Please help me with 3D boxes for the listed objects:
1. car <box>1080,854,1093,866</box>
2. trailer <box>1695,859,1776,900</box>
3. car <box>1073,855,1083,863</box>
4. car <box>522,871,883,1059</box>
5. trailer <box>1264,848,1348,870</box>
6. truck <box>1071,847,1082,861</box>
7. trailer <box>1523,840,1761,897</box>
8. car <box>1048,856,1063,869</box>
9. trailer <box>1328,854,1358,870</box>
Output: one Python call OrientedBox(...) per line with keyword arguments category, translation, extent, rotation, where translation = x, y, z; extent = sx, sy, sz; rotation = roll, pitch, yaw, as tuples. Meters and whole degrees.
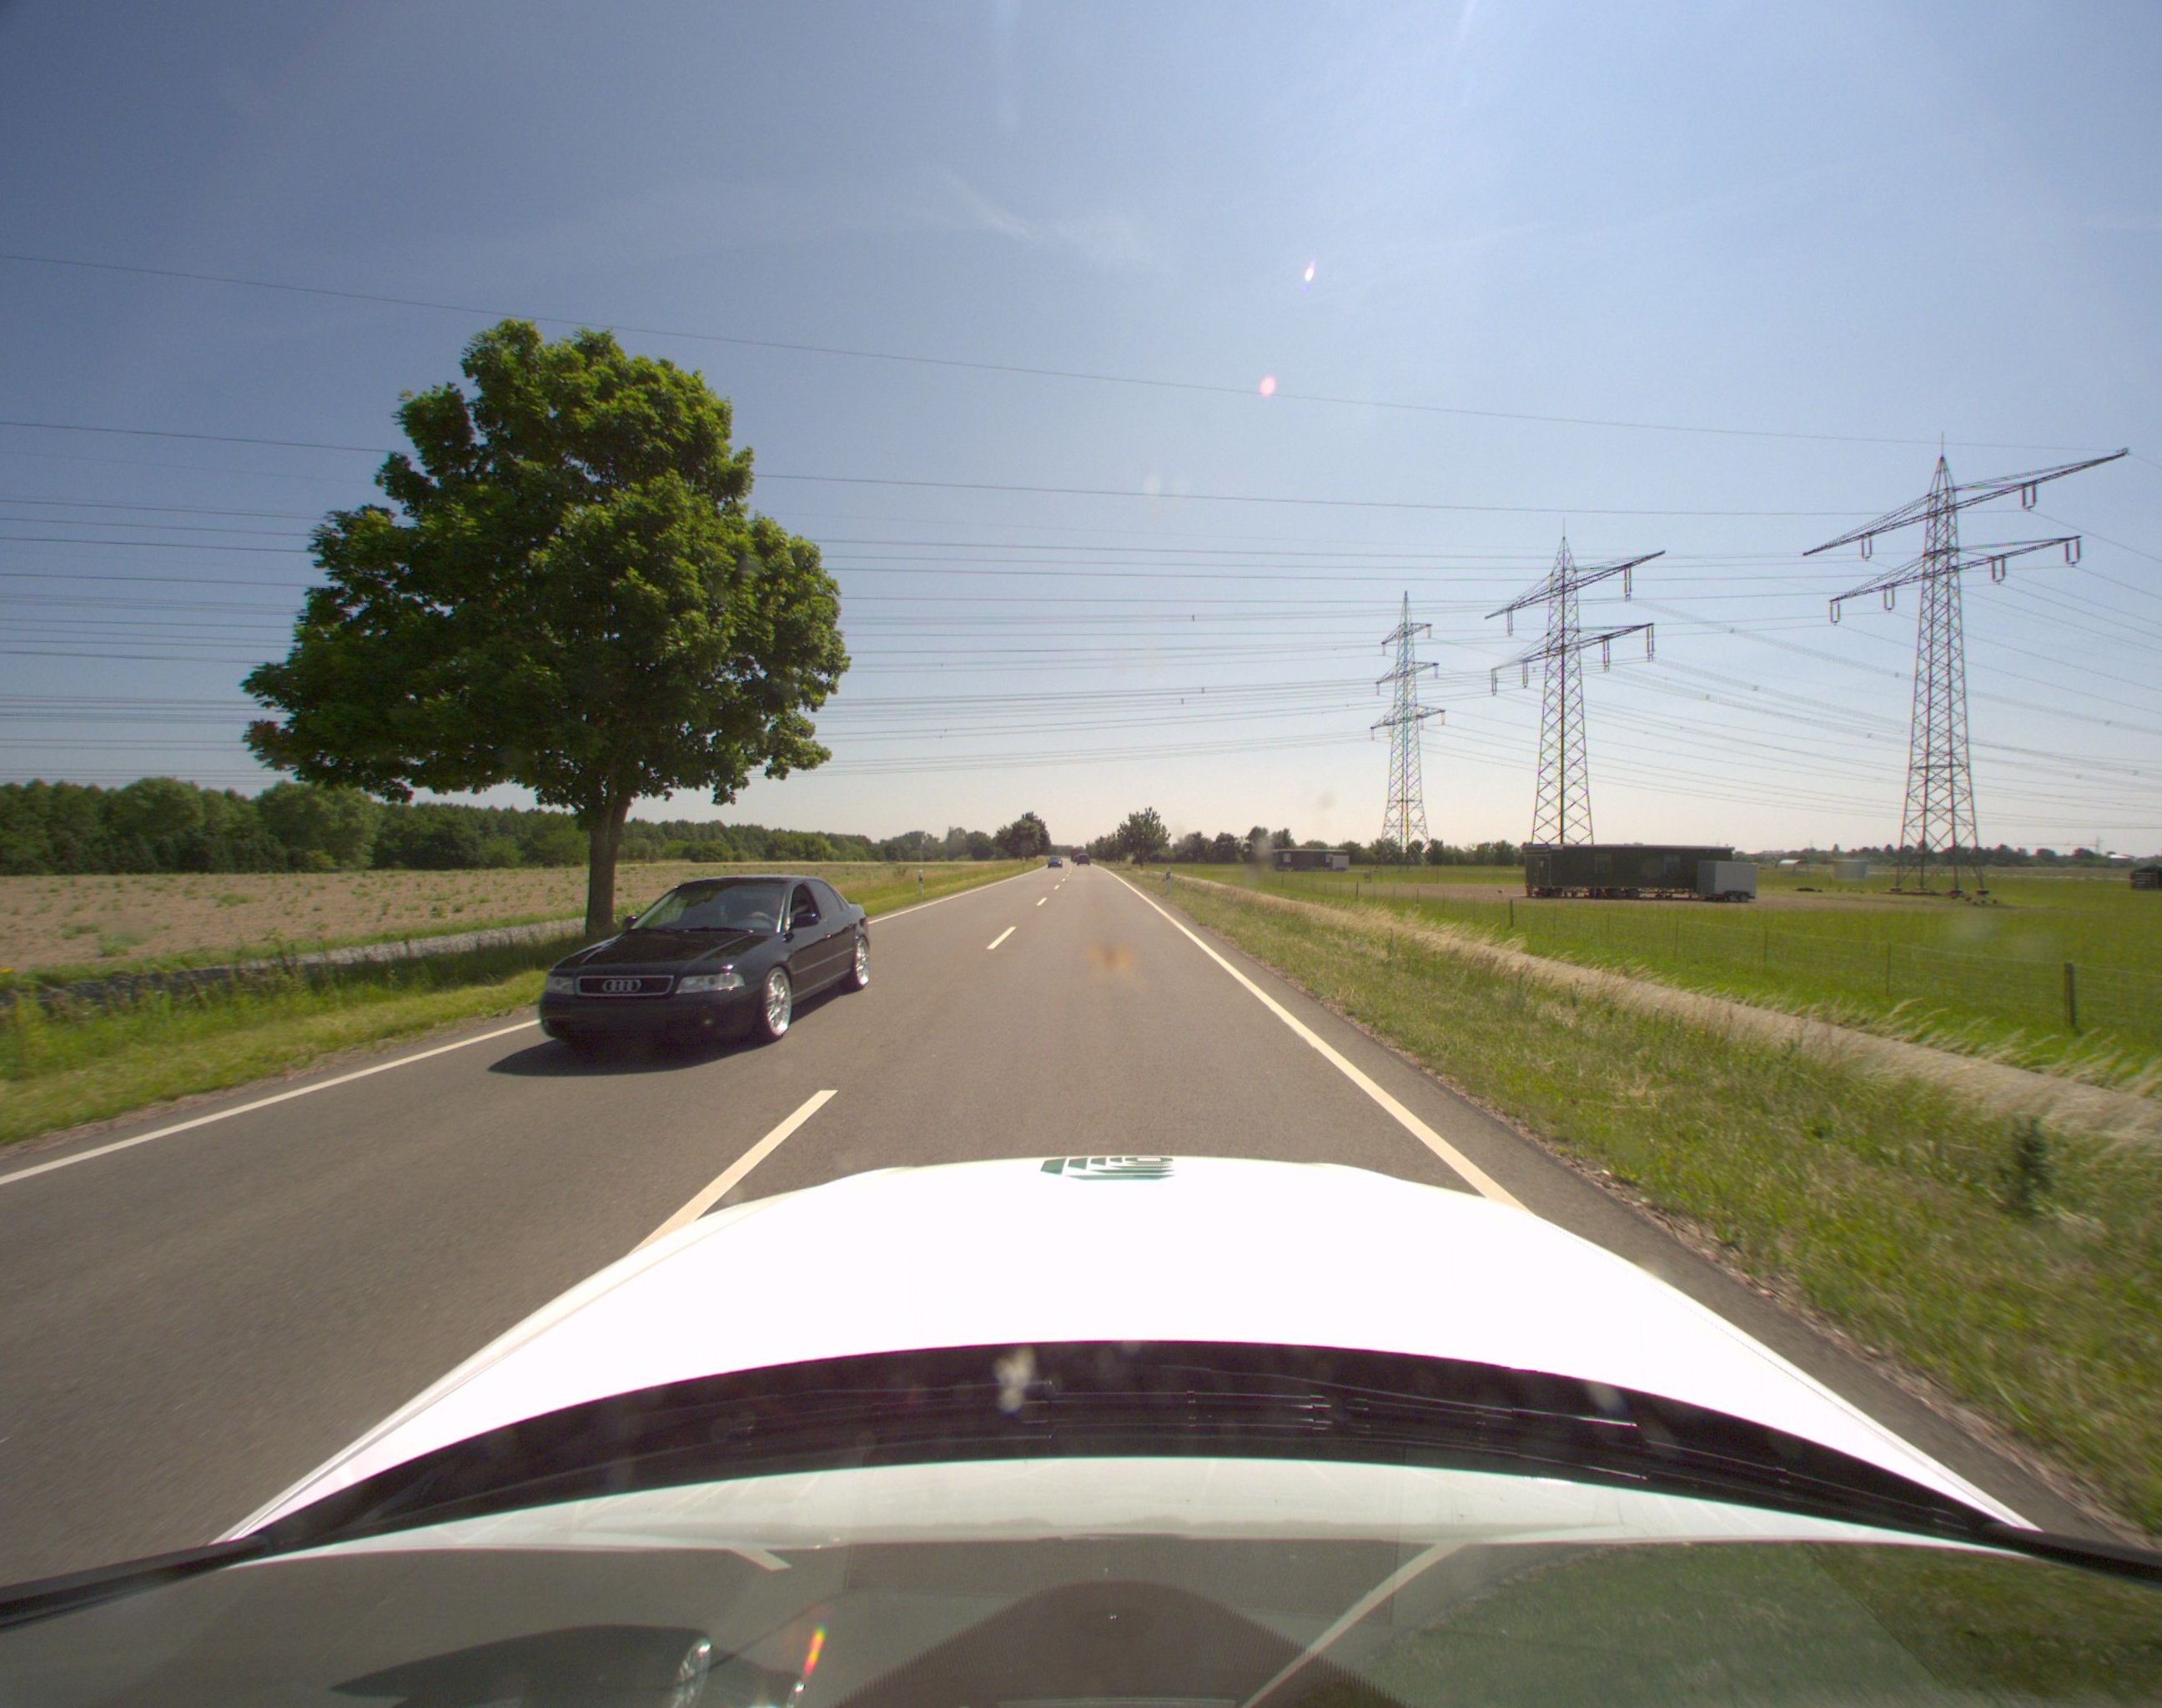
OrientedBox(category="car", translation=(0.807, 0.841, 120.682), extent=(1.710, 1.694, 3.986), rotation=(-1, 0, -1))
OrientedBox(category="trailer", translation=(40.451, 1.574, 50.396), extent=(3.397, 2.462, 2.037), rotation=(0, 0, -1))
OrientedBox(category="car", translation=(-0.532, 0.952, 156.231), extent=(1.845, 1.523, 3.998), rotation=(-1, 0, -1))
OrientedBox(category="car", translation=(-3.313, 0.866, 8.090), extent=(1.699, 1.332, 3.999), rotation=(-1, 0, 0))
OrientedBox(category="trailer", translation=(35.986, 0.769, 130.385), extent=(12.379, 3.473, 3.802), rotation=(1, 0, -3))
OrientedBox(category="truck", translation=(-1.174, 0.000, 197.124), extent=(2.364, 3.140, 8.740), rotation=(-1, 0, -2))
OrientedBox(category="trailer", translation=(36.373, 0.915, 53.125), extent=(13.469, 3.475, 3.275), rotation=(0, 0, -1))
OrientedBox(category="car", translation=(-3.207, 1.051, 101.134), extent=(1.730, 1.447, 3.996), rotation=(-1, 0, -3))
OrientedBox(category="trailer", translation=(41.065, 1.296, 127.531), extent=(3.979, 2.443, 1.997), rotation=(1, 0, -4))
